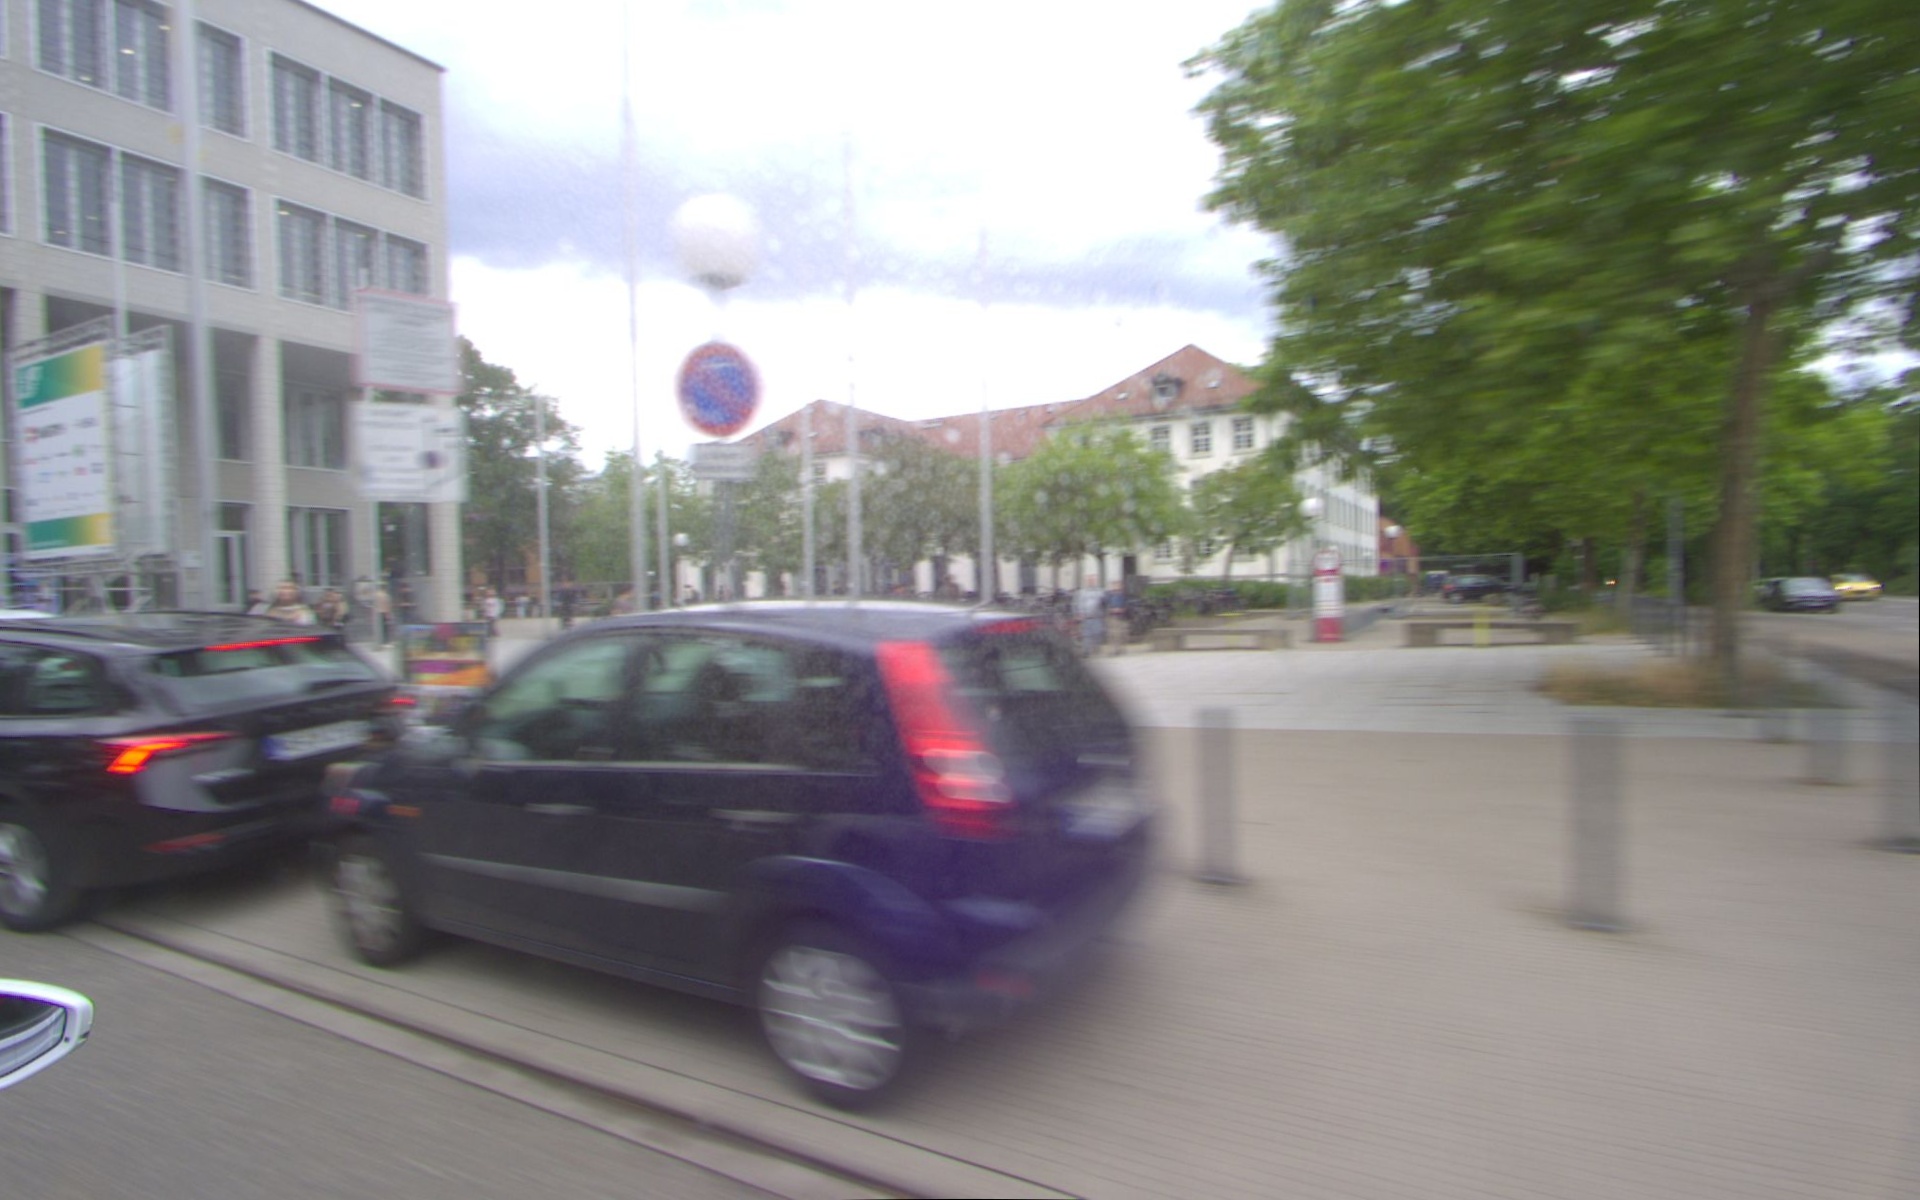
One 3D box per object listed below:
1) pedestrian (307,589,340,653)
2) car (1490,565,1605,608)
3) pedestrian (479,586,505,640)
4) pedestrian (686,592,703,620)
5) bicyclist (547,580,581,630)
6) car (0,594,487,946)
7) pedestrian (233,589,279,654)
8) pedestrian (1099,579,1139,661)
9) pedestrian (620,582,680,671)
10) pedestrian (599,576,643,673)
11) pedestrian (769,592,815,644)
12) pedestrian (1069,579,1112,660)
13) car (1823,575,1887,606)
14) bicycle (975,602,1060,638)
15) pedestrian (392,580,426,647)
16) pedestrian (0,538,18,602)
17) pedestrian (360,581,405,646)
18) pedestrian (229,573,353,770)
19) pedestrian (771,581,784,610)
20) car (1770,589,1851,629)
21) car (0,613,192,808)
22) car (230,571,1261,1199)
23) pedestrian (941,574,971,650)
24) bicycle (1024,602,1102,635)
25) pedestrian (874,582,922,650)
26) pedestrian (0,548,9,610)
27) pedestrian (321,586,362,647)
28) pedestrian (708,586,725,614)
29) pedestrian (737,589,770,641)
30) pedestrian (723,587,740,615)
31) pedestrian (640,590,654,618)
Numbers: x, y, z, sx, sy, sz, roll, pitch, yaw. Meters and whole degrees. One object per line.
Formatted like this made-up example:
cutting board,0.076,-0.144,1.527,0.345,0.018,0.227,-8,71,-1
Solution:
pedestrian,-18.672,0.608,29.378,0.611,1.865,0.590,-1,1,31
car,26.281,-0.591,44.930,3.990,1.776,1.998,-1,1,13
pedestrian,-14.750,0.407,31.574,0.725,1.663,0.927,1,1,-25
pedestrian,-15.723,0.347,59.330,0.656,1.663,0.660,-1,1,27
bicyclist,-13.494,0.163,34.103,0.865,1.663,0.862,-1,1,-35
car,-5.247,0.743,5.839,4.399,1.421,1.861,-1,3,19
pedestrian,-18.815,0.573,26.759,0.695,1.692,0.754,-1,1,31
pedestrian,3.416,0.419,21.474,0.649,1.738,0.581,0,1,36
pedestrian,-6.242,0.514,20.192,0.892,1.737,0.693,1,3,14
pedestrian,-6.514,0.459,19.229,0.634,1.832,0.644,1,2,-32
pedestrian,-4.739,0.503,28.321,0.952,1.440,0.850,-1,1,19
pedestrian,2.871,0.425,21.981,0.669,1.738,0.669,-1,2,36
car,50.145,-0.524,56.193,1.971,1.639,4.171,0,1,32
bicycle,2.077,0.711,36.556,3.062,1.186,0.744,2,1,32
pedestrian,-16.006,0.378,29.117,0.592,1.890,0.778,-2,2,-11
pedestrian,-25.835,-0.807,26.823,0.797,1.681,0.626,1,2,-35
pedestrian,-16.317,0.375,28.307,0.723,1.809,0.763,-1,1,16
pedestrian,-6.495,0.655,9.725,0.812,1.811,0.787,0,1,42
pedestrian,-10.490,-0.260,57.532,0.650,1.662,0.666,-1,0,-6
car,34.561,0.323,40.802,1.972,1.532,3.978,0,1,32
car,-8.850,0.879,8.928,3.801,1.472,1.857,-1,1,30
car,-1.034,0.734,4.082,4.045,1.522,1.618,-1,2,31
pedestrian,-0.095,0.287,24.880,0.502,1.858,0.671,-2,1,-20
bicycle,4.132,0.739,40.311,3.062,1.186,0.744,2,1,32
pedestrian,-1.600,0.412,25.994,0.951,1.727,0.850,0,2,17
pedestrian,-26.514,-0.581,27.452,0.625,1.681,0.799,0,2,-44
pedestrian,-17.848,0.476,28.885,0.595,1.738,0.775,-1,1,31
pedestrian,-14.635,0.026,60.197,0.683,1.663,0.660,0,1,28
pedestrian,-5.819,0.420,28.271,0.754,1.432,0.673,-1,1,-1
pedestrian,-13.622,0.061,59.721,0.656,1.663,0.660,0,1,28
pedestrian,-19.202,0.251,61.438,0.654,1.663,0.661,-2,1,-35
